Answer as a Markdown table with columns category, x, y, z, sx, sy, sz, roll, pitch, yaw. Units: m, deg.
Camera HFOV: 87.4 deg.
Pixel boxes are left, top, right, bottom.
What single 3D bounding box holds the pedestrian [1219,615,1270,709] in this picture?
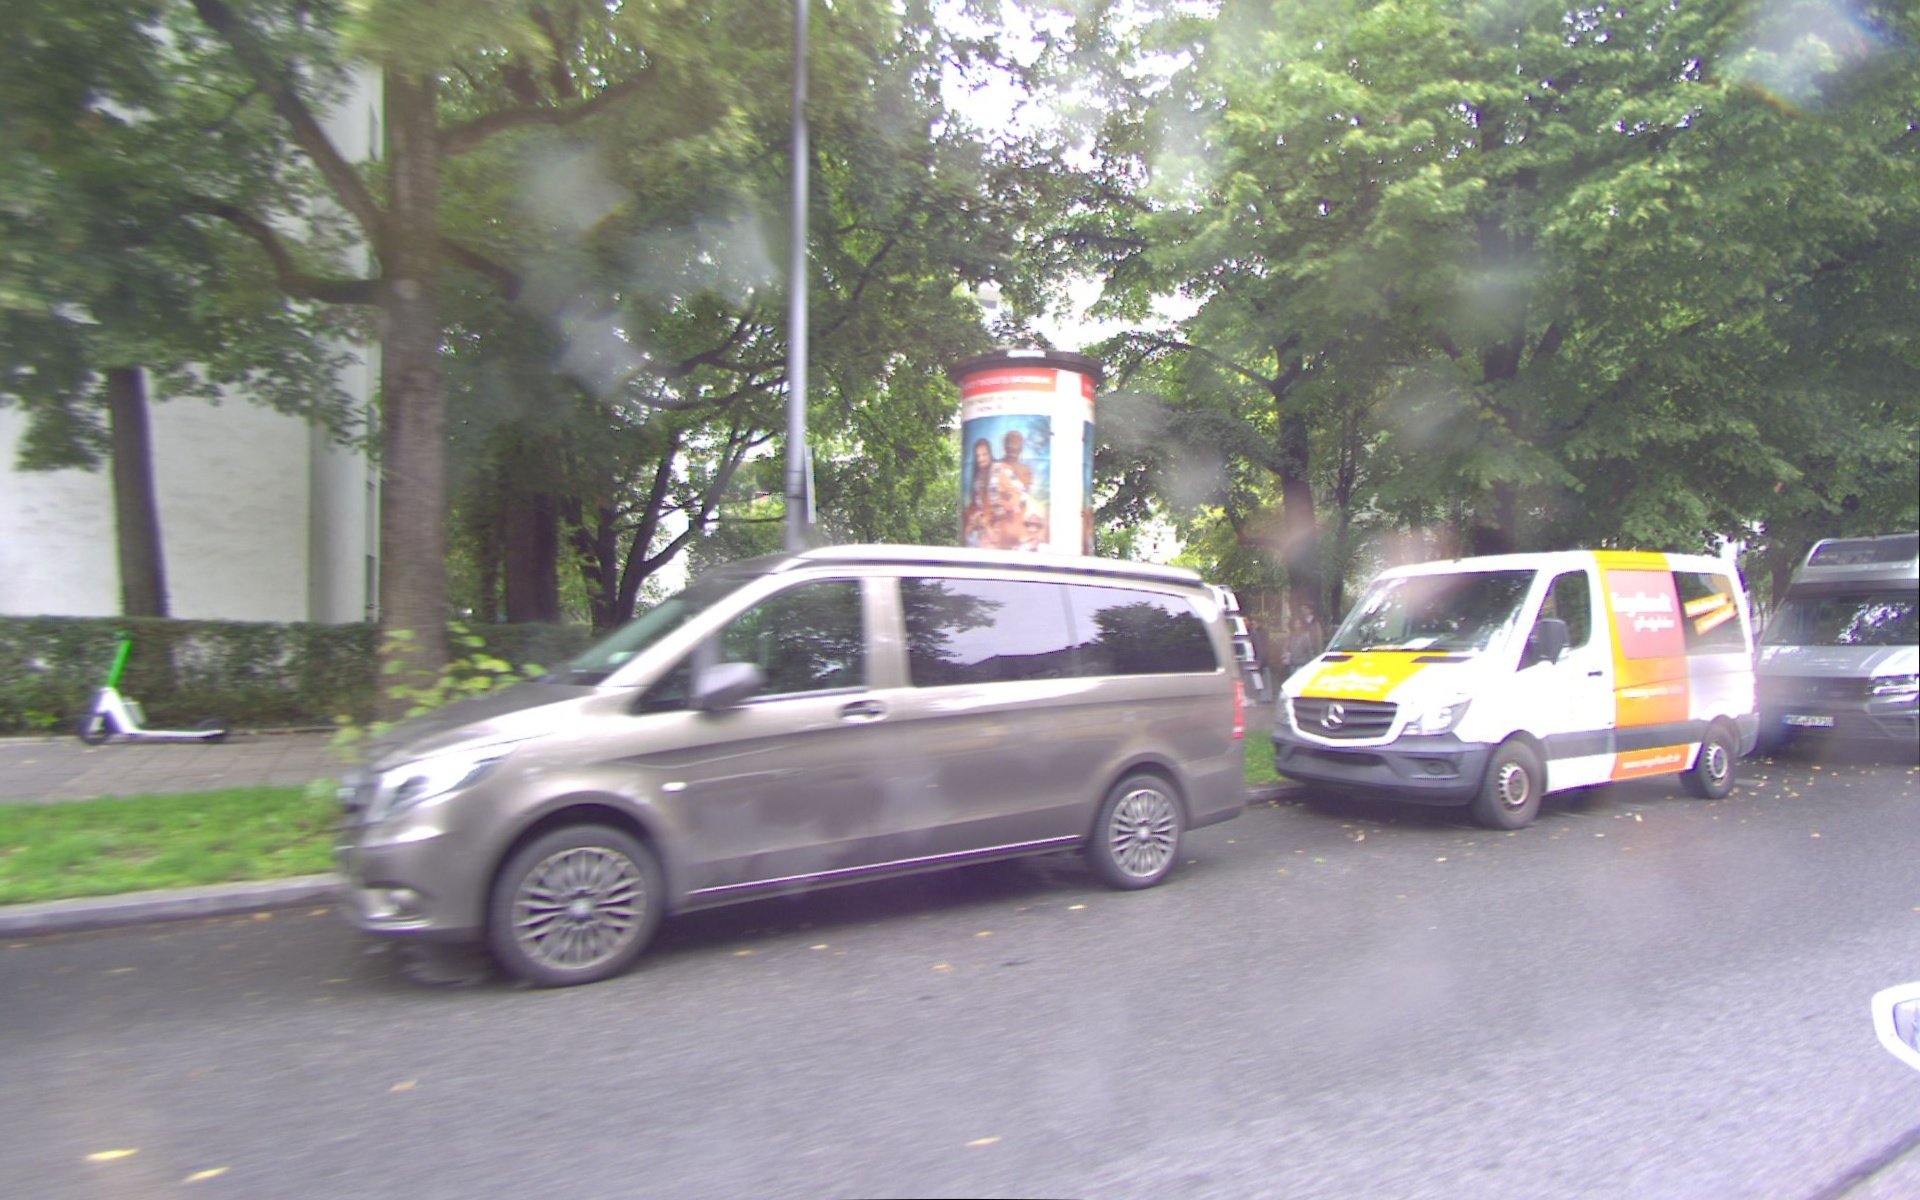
| category | x | y | z | sx | sy | sz | roll | pitch | yaw |
| --- | --- | --- | --- | --- | --- | --- | --- | --- | --- |
| pedestrian | 4.877 | 1.046 | 17.251 | 0.531 | 1.569 | 0.643 | 1 | -1 | -29 |

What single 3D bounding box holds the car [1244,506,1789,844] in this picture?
| category | x | y | z | sx | sy | sz | roll | pitch | yaw |
| --- | --- | --- | --- | --- | --- | --- | --- | --- | --- |
| car | 5.343 | 0.656 | 9.392 | 5.347 | 2.379 | 2.104 | 3 | -2 | -31 |

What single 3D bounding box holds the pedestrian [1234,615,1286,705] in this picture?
| category | x | y | z | sx | sy | sz | roll | pitch | yaw |
| --- | --- | --- | --- | --- | --- | --- | --- | --- | --- |
| pedestrian | 5.380 | 1.066 | 18.029 | 0.631 | 1.572 | 0.628 | 1 | -1 | -29 |

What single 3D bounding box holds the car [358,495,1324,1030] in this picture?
| category | x | y | z | sx | sy | sz | roll | pitch | yaw |
| --- | --- | --- | --- | --- | --- | --- | --- | --- | --- |
| car | -0.420 | 0.691 | 5.999 | 5.397 | 1.989 | 1.935 | 1 | -3 | -31 |

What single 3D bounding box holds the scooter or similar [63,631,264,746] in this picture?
| category | x | y | z | sx | sy | sz | roll | pitch | yaw |
| --- | --- | --- | --- | --- | --- | --- | --- | --- | --- |
| scooter or similar | -8.305 | 0.912 | 10.551 | 1.545 | 1.132 | 0.539 | 3 | -2 | -30 |

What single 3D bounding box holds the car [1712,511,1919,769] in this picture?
| category | x | y | z | sx | sy | sz | roll | pitch | yaw |
| --- | --- | --- | --- | --- | --- | --- | --- | --- | --- |
| car | 12.794 | 0.593 | 13.704 | 6.166 | 2.892 | 1.935 | 3 | -2 | -31 |

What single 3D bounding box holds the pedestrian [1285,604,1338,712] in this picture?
| category | x | y | z | sx | sy | sz | roll | pitch | yaw |
| --- | --- | --- | --- | --- | --- | --- | --- | --- | --- |
| pedestrian | 6.156 | 1.000 | 17.604 | 0.531 | 1.844 | 0.696 | 1 | -1 | -29 |

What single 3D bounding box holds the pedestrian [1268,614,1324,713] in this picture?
| category | x | y | z | sx | sy | sz | roll | pitch | yaw |
| --- | --- | --- | --- | --- | --- | --- | --- | --- | --- |
| pedestrian | 5.643 | 1.052 | 16.874 | 0.531 | 1.612 | 0.696 | 1 | -1 | -29 |
